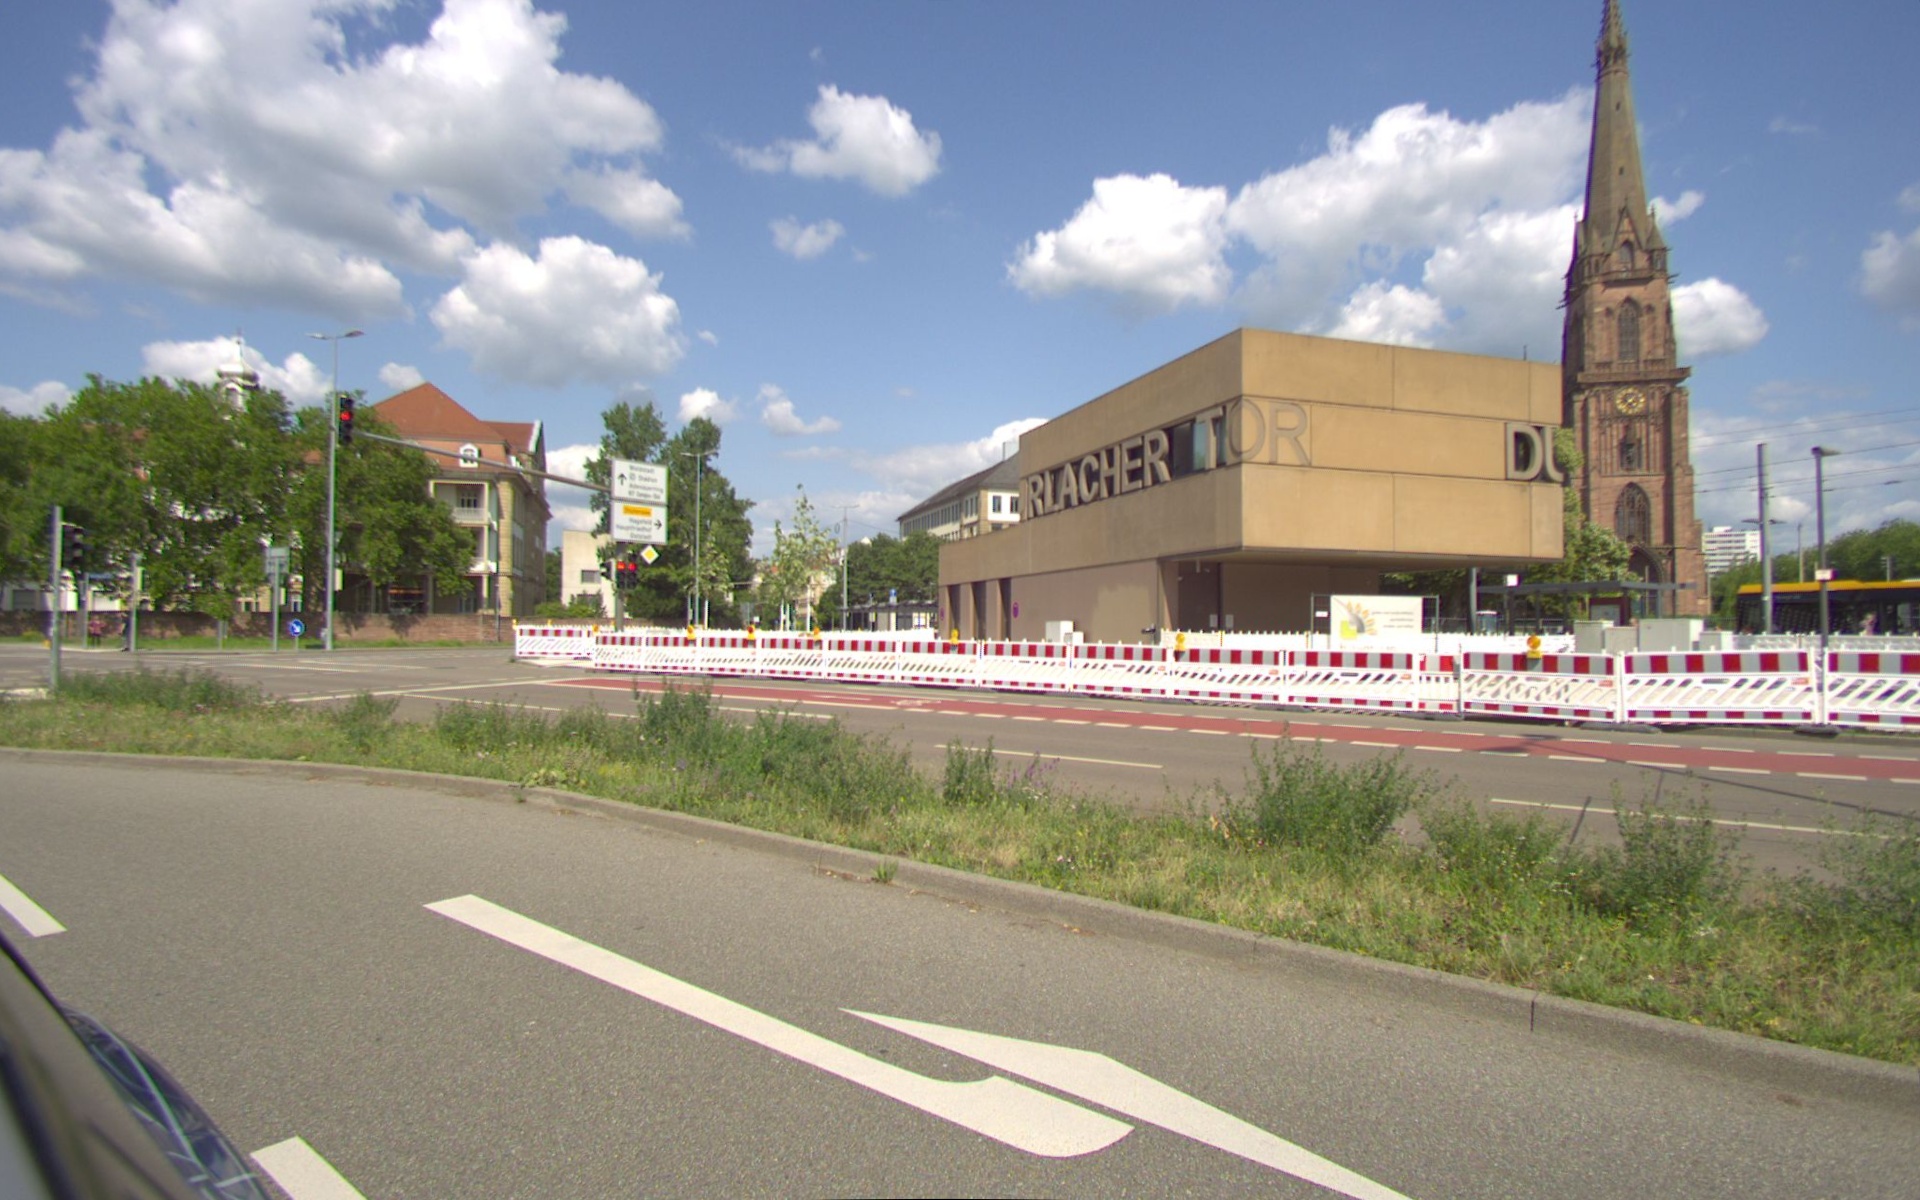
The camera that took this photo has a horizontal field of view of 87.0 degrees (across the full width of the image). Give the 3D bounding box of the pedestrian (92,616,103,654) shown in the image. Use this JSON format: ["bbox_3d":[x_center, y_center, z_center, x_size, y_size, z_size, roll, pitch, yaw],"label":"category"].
[{"bbox_3d":[-40.160,1.639,47.112,0.363,1.745,0.452,-1,0,-37],"label":"pedestrian"}]

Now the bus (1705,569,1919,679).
[{"bbox_3d":[29.169,0.696,29.379,2.785,3.160,12.879,1,-2,-18],"label":"bus"}]

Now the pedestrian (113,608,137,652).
[{"bbox_3d":[-38.516,1.368,46.688,0.616,2.009,0.579,-1,0,13],"label":"pedestrian"}]

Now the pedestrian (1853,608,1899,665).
[{"bbox_3d":[26.982,1.079,29.820,0.641,1.644,0.768,1,-2,-23],"label":"pedestrian"}]

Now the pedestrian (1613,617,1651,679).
[{"bbox_3d":[18.084,1.285,27.248,0.763,1.644,0.646,-1,-2,30],"label":"pedestrian"}]

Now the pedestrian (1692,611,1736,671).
[{"bbox_3d":[20.809,1.118,27.945,0.752,1.644,0.655,1,-2,-23],"label":"pedestrian"}]

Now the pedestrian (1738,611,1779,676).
[{"bbox_3d":[20.700,1.116,26.241,0.753,1.644,0.654,1,-2,-38],"label":"pedestrian"}]
